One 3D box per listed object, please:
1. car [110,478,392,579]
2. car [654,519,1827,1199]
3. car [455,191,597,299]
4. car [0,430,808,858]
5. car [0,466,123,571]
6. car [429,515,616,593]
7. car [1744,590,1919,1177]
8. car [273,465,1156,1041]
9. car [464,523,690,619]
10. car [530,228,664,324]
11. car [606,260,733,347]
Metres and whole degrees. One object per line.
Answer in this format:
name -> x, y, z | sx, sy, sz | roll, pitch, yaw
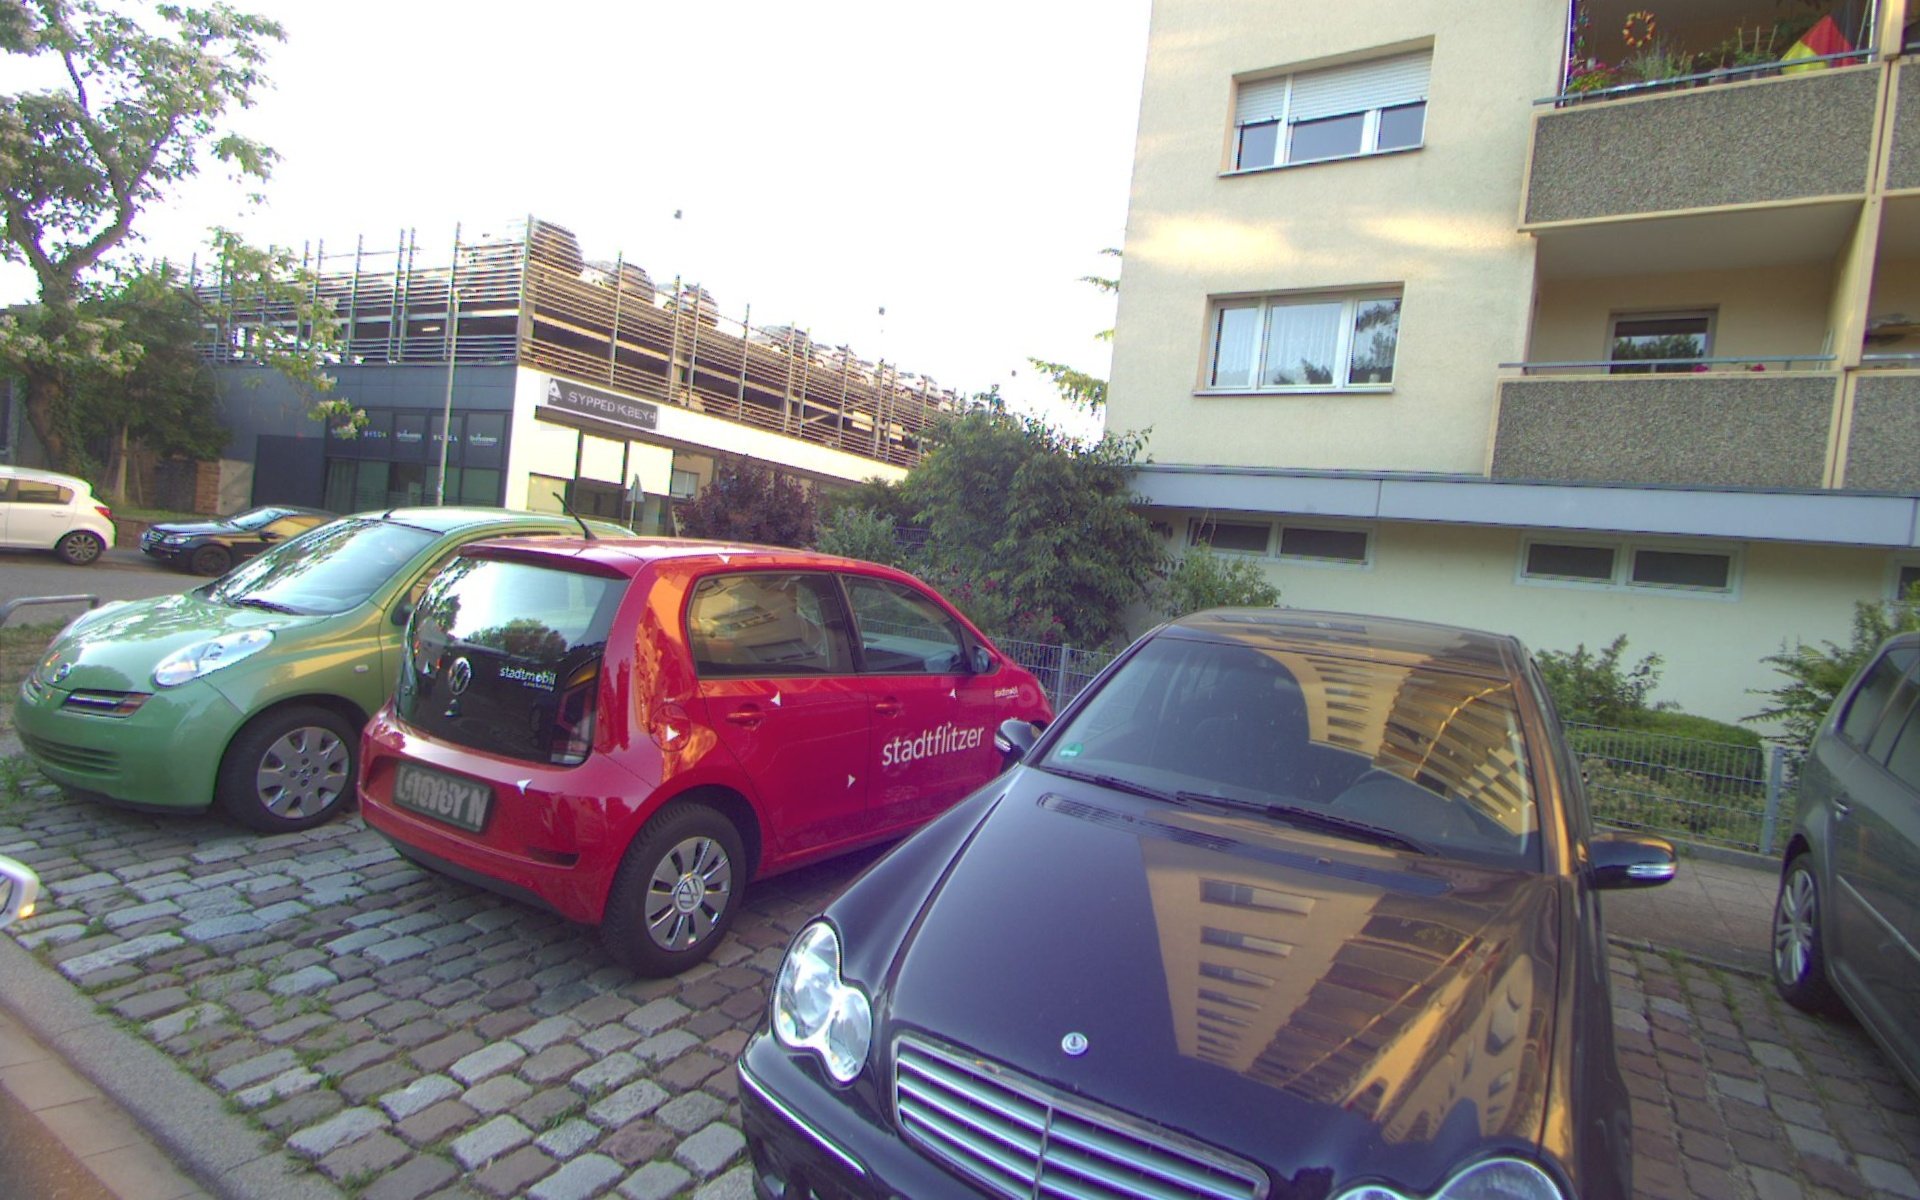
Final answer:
car -> -14.270, -1.389, 20.480 | 1.794, 1.523, 4.291 | 7, 2, 35
car -> 1.225, 0.721, 3.615 | 1.814, 1.551, 4.407 | 5, 1, 28
car -> -12.963, -10.484, 30.002 | 3.938, 2.039, 1.994 | 7, 0, 36
car -> -3.057, 0.164, 6.256 | 1.814, 1.653, 4.408 | 5, 1, 28
car -> -16.853, -1.534, 16.837 | 1.924, 1.593, 3.861 | 8, 1, 28
car -> -10.851, -1.112, 25.173 | 1.794, 1.523, 3.835 | 7, 2, 35
car -> 3.641, 0.873, 2.497 | 1.814, 1.684, 4.405 | 5, 3, 28
car -> -0.725, 0.365, 5.271 | 1.815, 1.655, 4.398 | 7, 5, 32
car -> -7.603, -0.539, 20.287 | 1.794, 1.544, 3.835 | 7, 2, 35
car -> -11.644, -10.282, 32.209 | 3.938, 2.039, 1.994 | 7, 0, 36
car -> -9.964, -10.061, 34.400 | 3.938, 2.039, 1.994 | 7, 0, 36
